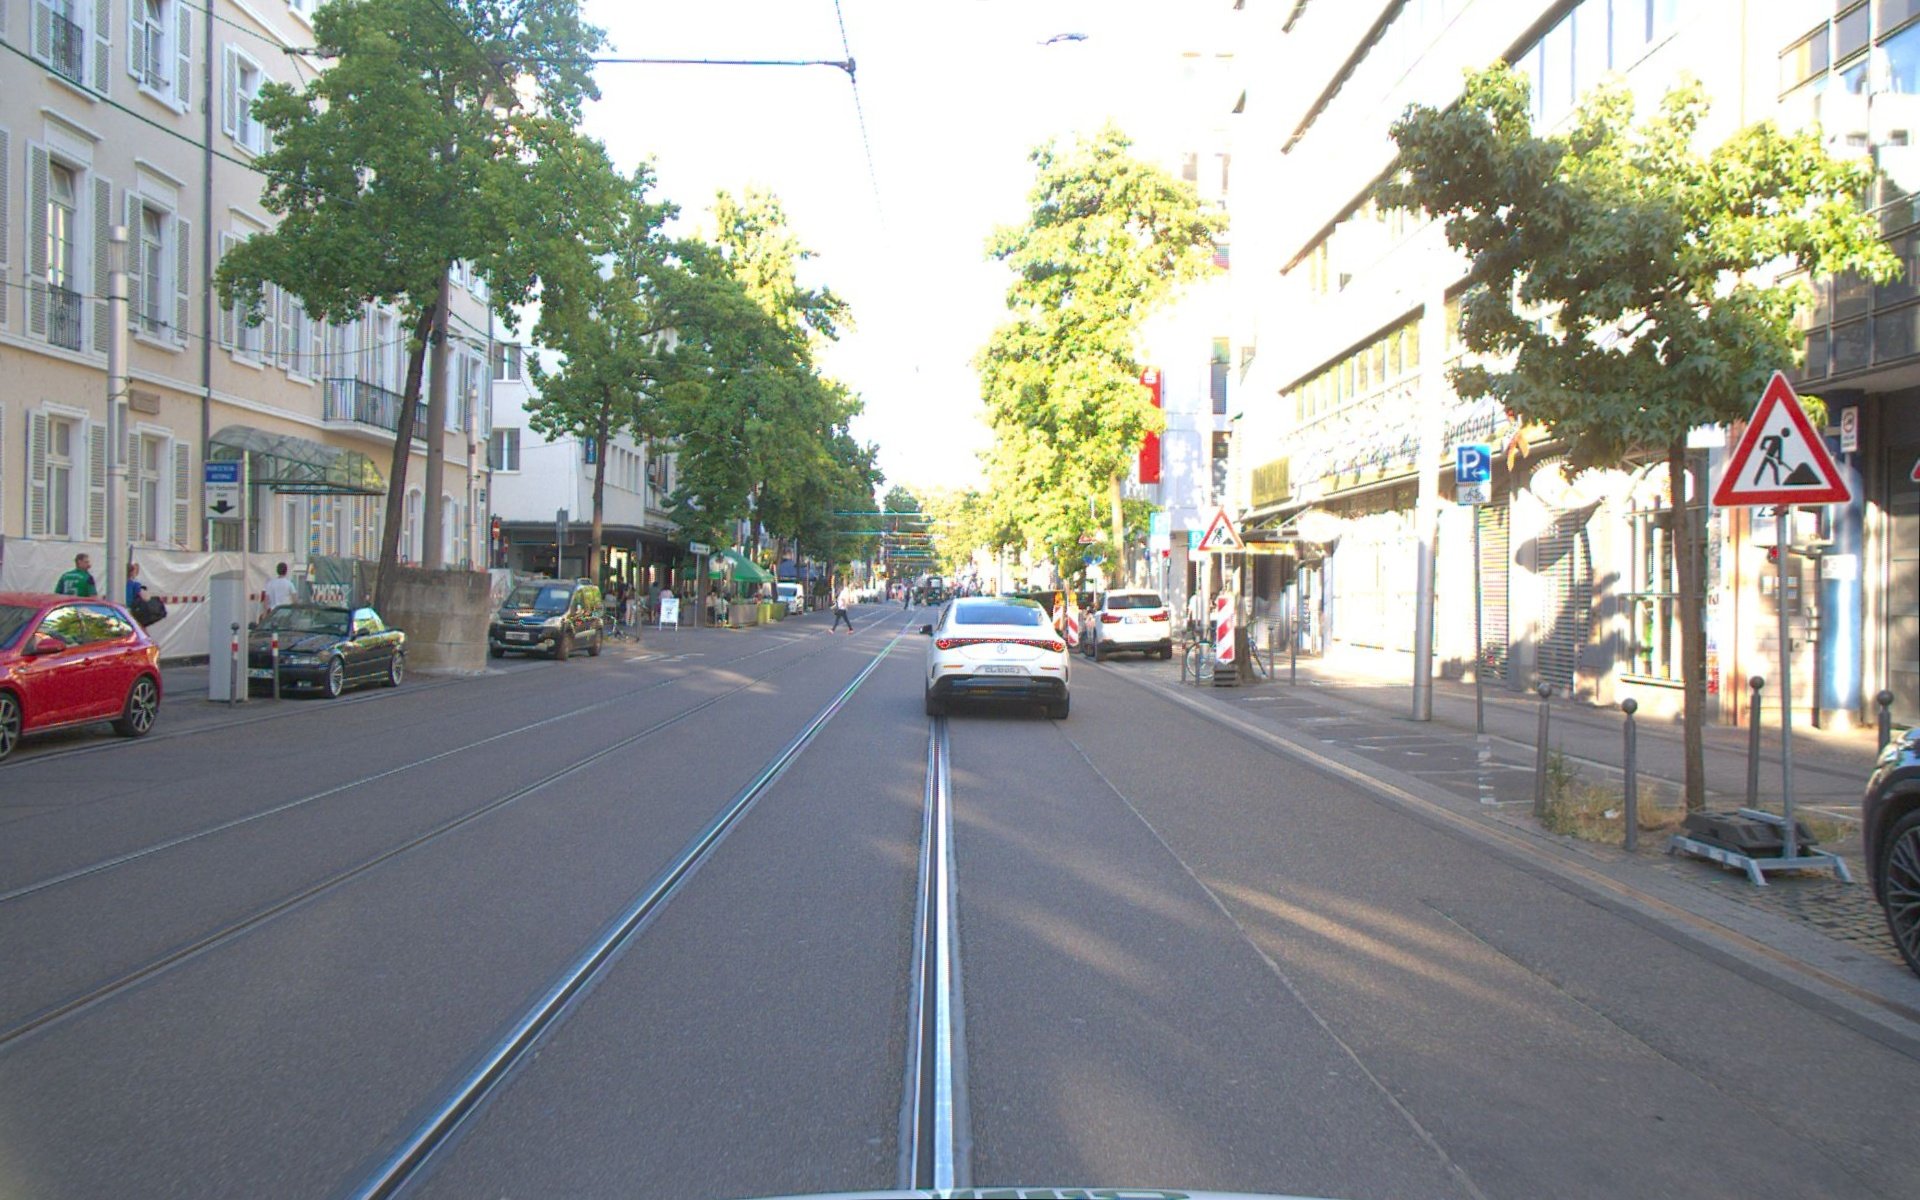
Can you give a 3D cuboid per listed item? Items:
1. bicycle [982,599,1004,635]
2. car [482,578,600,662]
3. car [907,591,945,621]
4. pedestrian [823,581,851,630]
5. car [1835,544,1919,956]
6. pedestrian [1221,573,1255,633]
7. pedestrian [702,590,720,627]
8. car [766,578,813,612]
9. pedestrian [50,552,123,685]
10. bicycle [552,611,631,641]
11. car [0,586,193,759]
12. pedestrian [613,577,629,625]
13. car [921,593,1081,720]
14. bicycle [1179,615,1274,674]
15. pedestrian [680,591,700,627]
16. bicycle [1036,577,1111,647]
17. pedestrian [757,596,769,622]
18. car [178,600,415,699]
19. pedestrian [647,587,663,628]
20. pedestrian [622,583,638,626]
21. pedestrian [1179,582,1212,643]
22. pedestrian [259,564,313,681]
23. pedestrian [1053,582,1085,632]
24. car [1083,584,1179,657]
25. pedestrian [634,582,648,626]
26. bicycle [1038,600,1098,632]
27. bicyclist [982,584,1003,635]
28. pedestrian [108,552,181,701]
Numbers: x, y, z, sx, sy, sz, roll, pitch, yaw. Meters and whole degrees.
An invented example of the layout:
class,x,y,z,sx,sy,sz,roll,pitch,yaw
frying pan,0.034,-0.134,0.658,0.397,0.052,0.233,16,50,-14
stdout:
class,x,y,z,sx,sy,sz,roll,pitch,yaw
bicycle,1.119,0.580,57.064,0.725,1.209,2.160,0,0,0
car,-9.517,0.432,37.753,1.519,1.827,3.170,0,0,8
car,-3.642,0.621,176.982,3.957,3.168,8.429,0,0,-1
pedestrian,-4.530,0.202,60.930,0.904,1.805,0.870,0,0,-15
car,5.066,0.656,5.233,1.953,1.743,4.865,0,0,-1
pedestrian,8.372,0.091,49.804,0.785,1.805,0.680,0,0,-13
pedestrian,-10.363,0.354,68.940,0.511,1.504,0.644,-2,-1,-28
car,-10.283,-0.318,100.145,1.951,2.049,4.003,0,0,7
pedestrian,-12.260,0.249,23.228,0.693,1.838,0.675,0,0,-6
bicycle,-10.684,0.746,47.973,2.206,0.845,0.717,0,0,22
car,-9.323,0.631,16.143,1.654,1.525,4.234,1,0,0
pedestrian,-13.388,0.040,65.280,0.506,1.888,0.650,0,0,-1
car,0.438,0.661,21.669,1.830,1.494,4.040,0,0,-2
bicycle,4.964,0.828,30.850,1.687,1.080,0.581,0,0,2
pedestrian,-10.994,0.364,67.456,0.557,1.489,0.650,0,0,18
bicycle,3.438,0.364,50.536,1.953,2.049,3.999,0,0,-1
pedestrian,-9.406,0.425,79.014,0.506,1.255,0.650,0,0,1
car,-9.743,0.681,24.639,1.953,1.314,3.999,1,0,-1
pedestrian,-12.266,0.282,66.546,0.506,1.644,0.650,0,0,-2
pedestrian,-12.767,0.172,63.939,0.506,1.681,0.650,0,0,-2
pedestrian,7.037,0.376,49.404,0.785,1.805,0.680,0,0,-13
pedestrian,-11.885,0.398,29.170,0.693,2.039,0.675,0,0,-4
pedestrian,3.962,0.255,60.239,0.904,1.805,0.870,0,0,-15
car,4.283,0.475,42.033,1.953,1.758,4.240,0,0,-1
pedestrian,-13.510,0.165,70.036,0.507,1.812,0.608,0,0,-8
bicycle,3.946,0.591,60.228,2.014,1.155,0.870,0,0,-16
bicyclist,1.116,0.330,56.847,0.710,1.732,0.811,0,0,0
pedestrian,-11.347,0.358,23.022,0.693,2.039,0.675,0,0,-4
